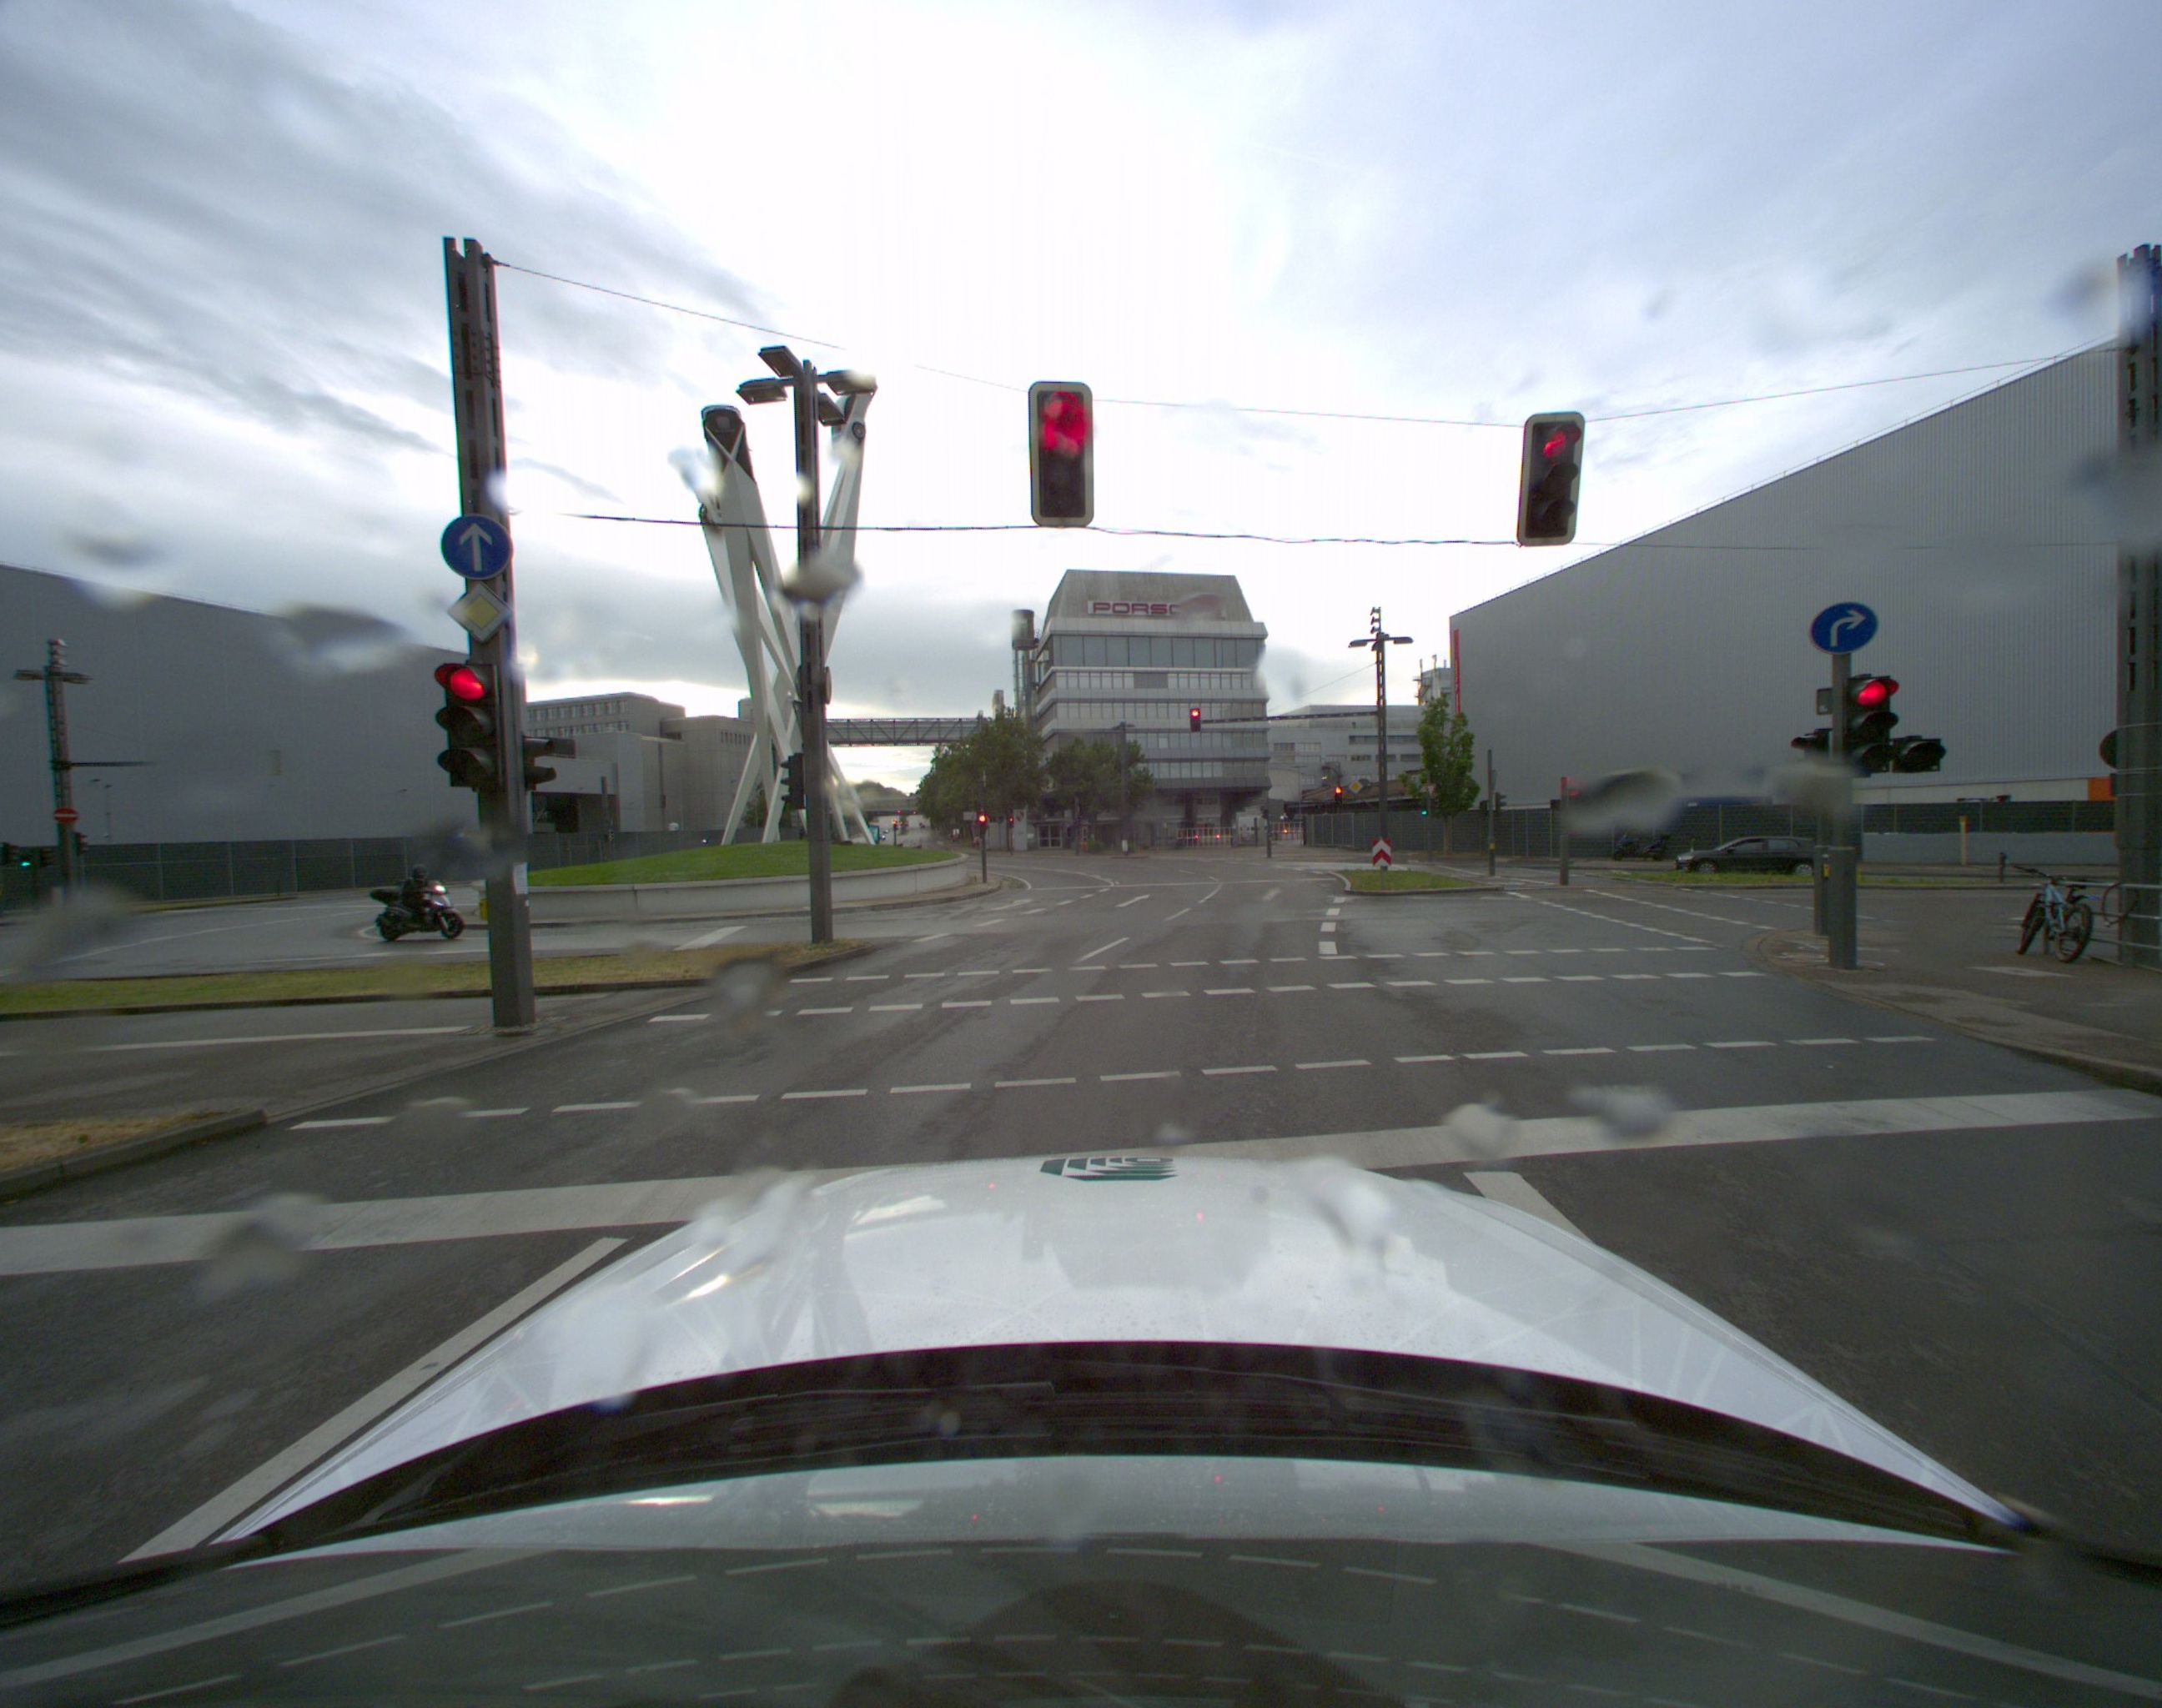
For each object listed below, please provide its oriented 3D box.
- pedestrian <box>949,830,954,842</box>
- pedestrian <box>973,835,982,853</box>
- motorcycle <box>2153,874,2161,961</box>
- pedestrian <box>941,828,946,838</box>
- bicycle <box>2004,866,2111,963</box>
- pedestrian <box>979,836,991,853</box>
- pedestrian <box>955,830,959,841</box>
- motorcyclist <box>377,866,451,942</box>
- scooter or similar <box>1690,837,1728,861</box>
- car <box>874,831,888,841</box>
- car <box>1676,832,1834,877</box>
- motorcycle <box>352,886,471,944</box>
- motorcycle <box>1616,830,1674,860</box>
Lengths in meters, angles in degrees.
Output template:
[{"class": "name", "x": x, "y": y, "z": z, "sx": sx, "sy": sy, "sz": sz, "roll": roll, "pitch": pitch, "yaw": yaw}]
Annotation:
[{"class": "pedestrian", "x": -19.340, "y": -2.640, "z": 121.195, "sx": 0.712, "sy": 1.740, "sz": 0.757, "roll": 0, "pitch": -1, "yaw": -12}, {"class": "pedestrian", "x": -9.608, "y": -0.948, "z": 75.668, "sx": 0.708, "sy": 1.591, "sz": 0.839, "roll": -2, "pitch": 2, "yaw": -7}, {"class": "motorcycle", "x": 15.155, "y": 0.822, "z": 10.327, "sx": 2.074, "sy": 1.145, "sz": 0.490, "roll": 0, "pitch": -1, "yaw": 11}, {"class": "pedestrian", "x": -28.182, "y": -4.325, "z": 166.979, "sx": 0.761, "sy": 2.013, "sz": 0.693, "roll": -1, "pitch": 1, "yaw": 5}, {"class": "bicycle", "x": 12.565, "y": 0.729, "z": 10.531, "sx": 0.416, "sy": 1.130, "sz": 2.086, "roll": -1, "pitch": -1, "yaw": 37}, {"class": "pedestrian", "x": -8.849, "y": -0.908, "z": 74.867, "sx": 0.835, "sy": 1.520, "sz": 0.835, "roll": -3, "pitch": 2, "yaw": -22}, {"class": "pedestrian", "x": -19.971, "y": -3.048, "z": 131.134, "sx": 0.757, "sy": 1.740, "sz": 0.712, "roll": 0, "pitch": -1, "yaw": -8}, {"class": "motorcyclist", "x": -14.890, "y": 1.097, "z": 18.199, "sx": 1.028, "sy": 1.622, "sz": 0.670, "roll": -2, "pitch": 0, "yaw": -1}, {"class": "scooter or similar", "x": 27.509, "y": -0.225, "z": 35.701, "sx": 0.387, "sy": 1.028, "sz": 1.259, "roll": -2, "pitch": 2, "yaw": -29}, {"class": "car", "x": -41.932, "y": -3.766, "z": 170.791, "sx": 1.986, "sy": 2.014, "sz": 4.001, "roll": 0, "pitch": -1, "yaw": 2}, {"class": "car", "x": 22.825, "y": -0.011, "z": 27.783, "sx": 3.949, "sy": 1.425, "sz": 1.732, "roll": 0, "pitch": 1, "yaw": 31}, {"class": "motorcycle", "x": -14.895, "y": 1.349, "z": 18.137, "sx": 2.251, "sy": 1.192, "sz": 0.451, "roll": -2, "pitch": 0, "yaw": 0}, {"class": "motorcycle", "x": 25.574, "y": -0.407, "z": 36.957, "sx": 2.074, "sy": 1.310, "sz": 0.659, "roll": 0, "pitch": 2, "yaw": 27}]
